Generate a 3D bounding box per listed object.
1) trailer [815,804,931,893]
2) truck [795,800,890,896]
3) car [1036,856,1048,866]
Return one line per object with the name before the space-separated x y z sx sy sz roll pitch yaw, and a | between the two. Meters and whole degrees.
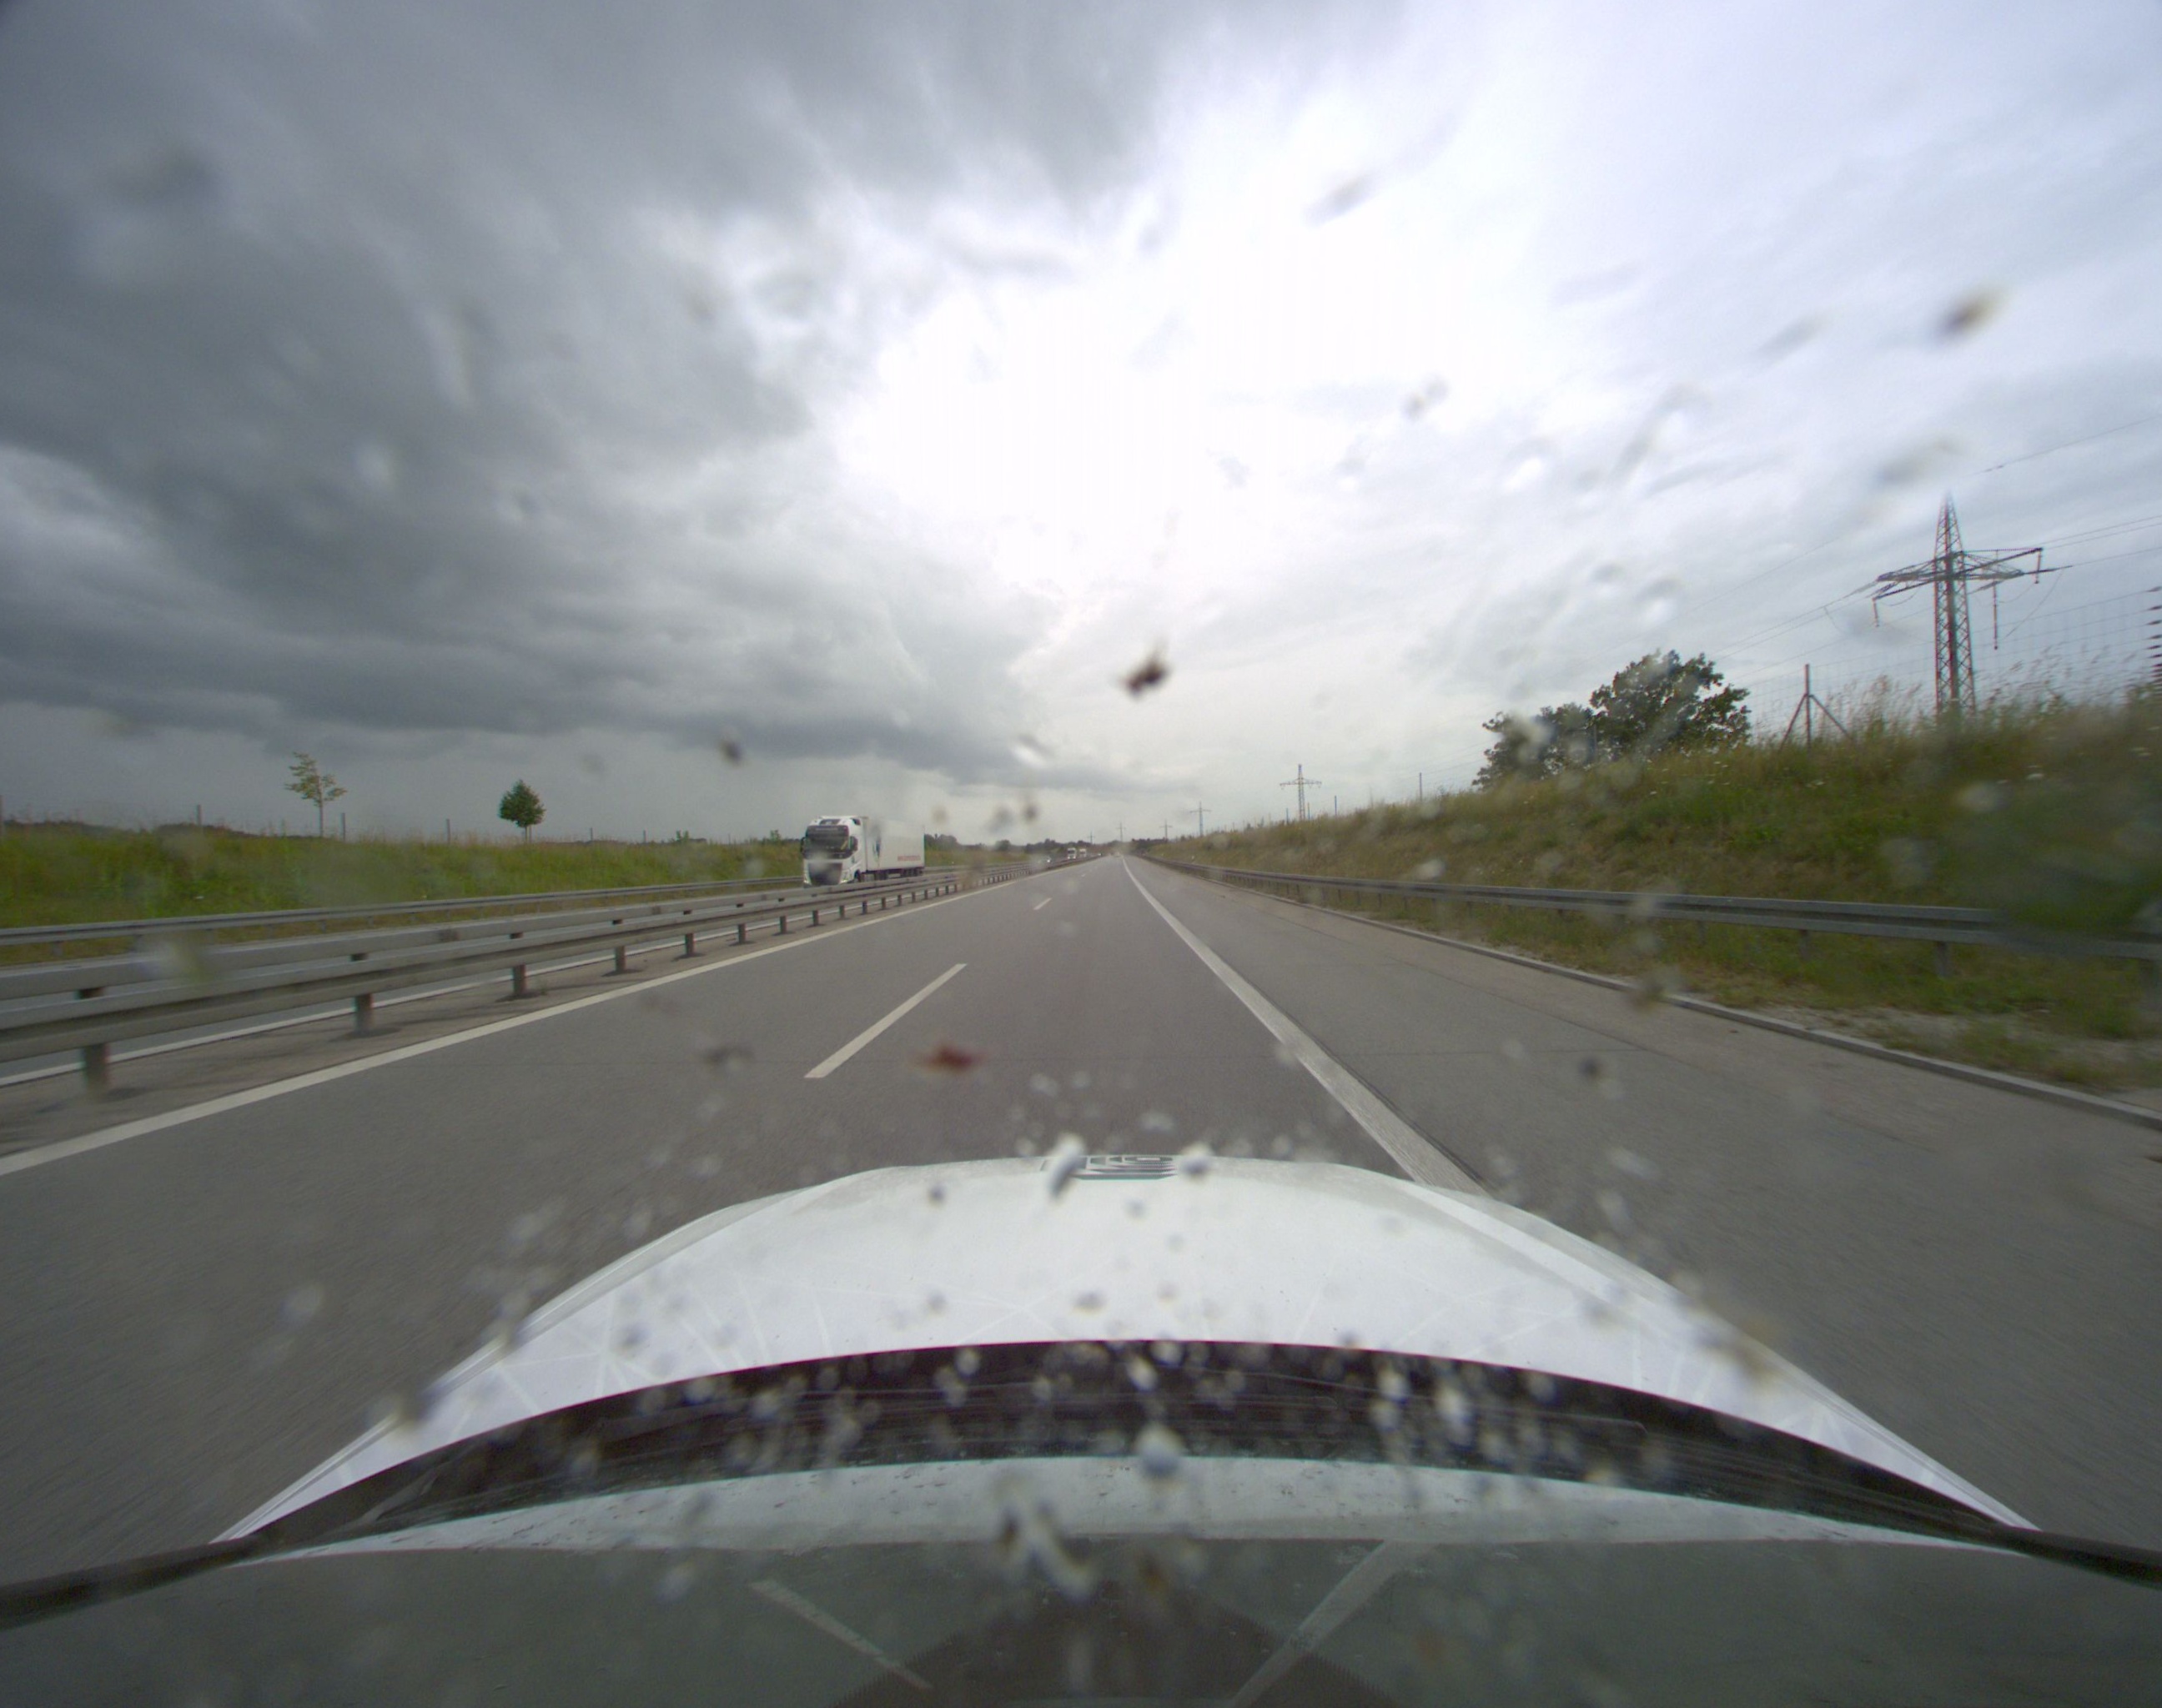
trailer | -12.437 -0.272 50.782 2.785 4.650 14.853 -2 0 2
truck | -12.661 -0.300 43.931 2.785 4.647 6.923 -2 0 2
car | -6.519 1.158 135.666 1.758 1.424 3.999 -2 0 0
